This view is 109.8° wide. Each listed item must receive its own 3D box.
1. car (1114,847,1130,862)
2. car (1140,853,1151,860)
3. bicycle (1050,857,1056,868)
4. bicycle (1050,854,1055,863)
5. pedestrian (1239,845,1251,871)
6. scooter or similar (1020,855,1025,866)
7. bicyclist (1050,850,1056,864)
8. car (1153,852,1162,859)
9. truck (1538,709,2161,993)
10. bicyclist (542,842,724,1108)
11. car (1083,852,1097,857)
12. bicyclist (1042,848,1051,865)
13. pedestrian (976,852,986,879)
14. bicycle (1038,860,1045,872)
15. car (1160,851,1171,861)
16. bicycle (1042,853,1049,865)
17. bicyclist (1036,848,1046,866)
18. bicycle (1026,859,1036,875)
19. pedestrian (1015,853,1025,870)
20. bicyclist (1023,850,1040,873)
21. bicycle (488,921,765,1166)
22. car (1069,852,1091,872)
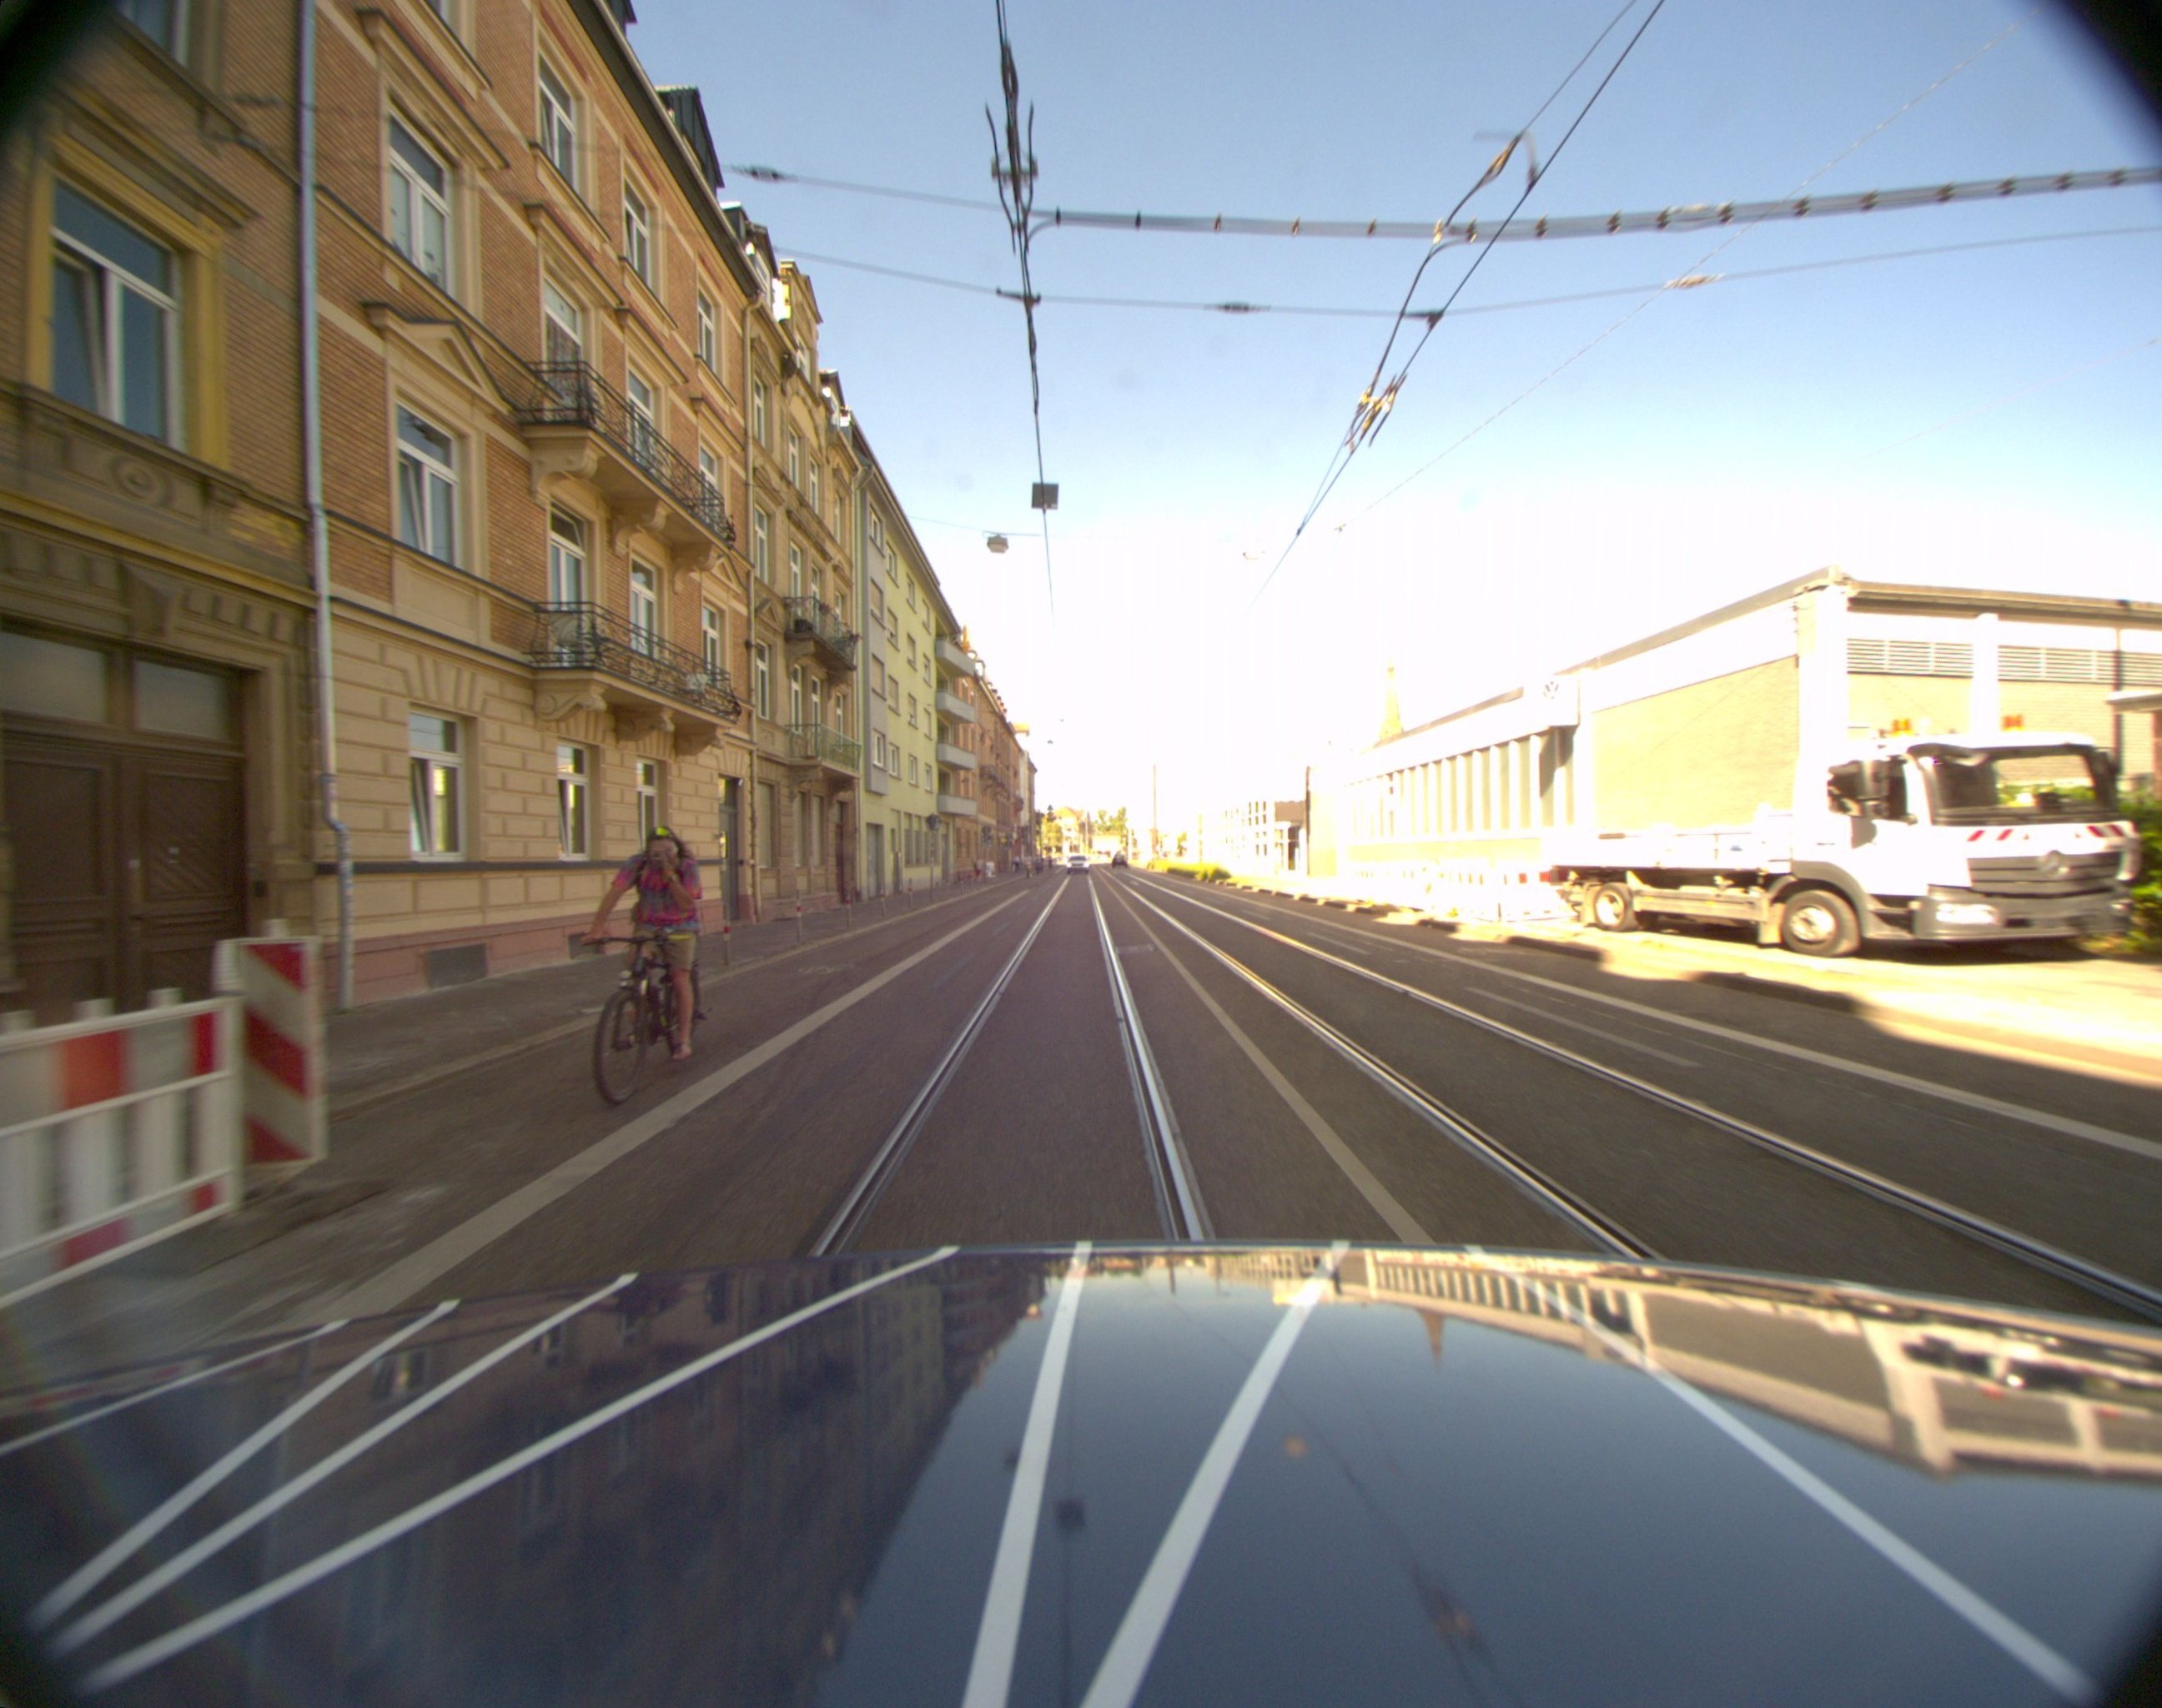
[{"bbox_3d":[4.879,0.001,91.726,1.763,1.687,4.143,-3,1,1],"label":"car"},{"bbox_3d":[13.417,0.489,158.148,1.807,1.424,4.540,-3,1,1],"label":"car"},{"bbox_3d":[-3.172,0.951,86.312,0.533,1.111,1.933,-2,1,0],"label":"bicycle"},{"bbox_3d":[-3.577,0.539,95.672,0.533,1.152,1.865,-2,1,-1],"label":"bicycle"},{"bbox_3d":[11.294,0.281,52.339,0.528,1.754,1.051,-3,1,0],"label":"pedestrian"},{"bbox_3d":[-6.828,0.783,88.308,0.407,1.204,1.480,0,1,1],"label":"scooter or similar"},{"bbox_3d":[-3.199,0.366,86.253,0.551,1.604,0.953,-3,1,-1],"label":"bicyclist"},{"bbox_3d":[16.395,0.326,163.454,1.653,1.470,3.971,0,0,1],"label":"car"},{"bbox_3d":[9.979,-0.078,10.999,2.545,2.814,6.373,-3,1,-3],"label":"truck"},{"bbox_3d":[-3.139,0.776,5.440,0.669,1.687,1.042,-3,1,-7],"label":"bicyclist"},{"bbox_3d":[2.699,0.195,227.260,1.917,1.449,4.587,-2,1,-39],"label":"car"},{"bbox_3d":[-3.333,0.259,73.814,0.624,1.604,0.981,-2,1,9],"label":"bicyclist"},{"bbox_3d":[-6.389,0.736,48.691,0.554,1.691,0.473,1,1,0],"label":"pedestrian"},{"bbox_3d":[-3.552,1.073,68.557,0.387,1.063,1.934,-1,0,2],"label":"bicycle"},{"bbox_3d":[15.007,0.283,135.251,1.803,1.709,4.418,0,1,6],"label":"car"},{"bbox_3d":[-3.415,0.465,73.865,0.533,1.111,1.933,-1,1,2],"label":"bicycle"},{"bbox_3d":[-3.622,0.289,68.429,0.784,1.584,0.886,-1,0,3],"label":"bicyclist"},{"bbox_3d":[-3.685,0.971,56.032,0.533,1.111,1.934,-3,-1,0],"label":"bicycle"},{"bbox_3d":[-5.952,0.748,74.035,0.800,1.596,0.652,-1,1,2],"label":"pedestrian"},{"bbox_3d":[-3.670,0.542,55.947,0.681,1.674,1.122,-2,1,29],"label":"bicyclist"},{"bbox_3d":[-3.149,1.198,5.688,0.683,1.108,2.705,-3,1,-7],"label":"bicycle"},{"bbox_3d":[-0.092,0.673,66.750,1.869,1.635,4.396,-1,0,-1],"label":"car"}]
